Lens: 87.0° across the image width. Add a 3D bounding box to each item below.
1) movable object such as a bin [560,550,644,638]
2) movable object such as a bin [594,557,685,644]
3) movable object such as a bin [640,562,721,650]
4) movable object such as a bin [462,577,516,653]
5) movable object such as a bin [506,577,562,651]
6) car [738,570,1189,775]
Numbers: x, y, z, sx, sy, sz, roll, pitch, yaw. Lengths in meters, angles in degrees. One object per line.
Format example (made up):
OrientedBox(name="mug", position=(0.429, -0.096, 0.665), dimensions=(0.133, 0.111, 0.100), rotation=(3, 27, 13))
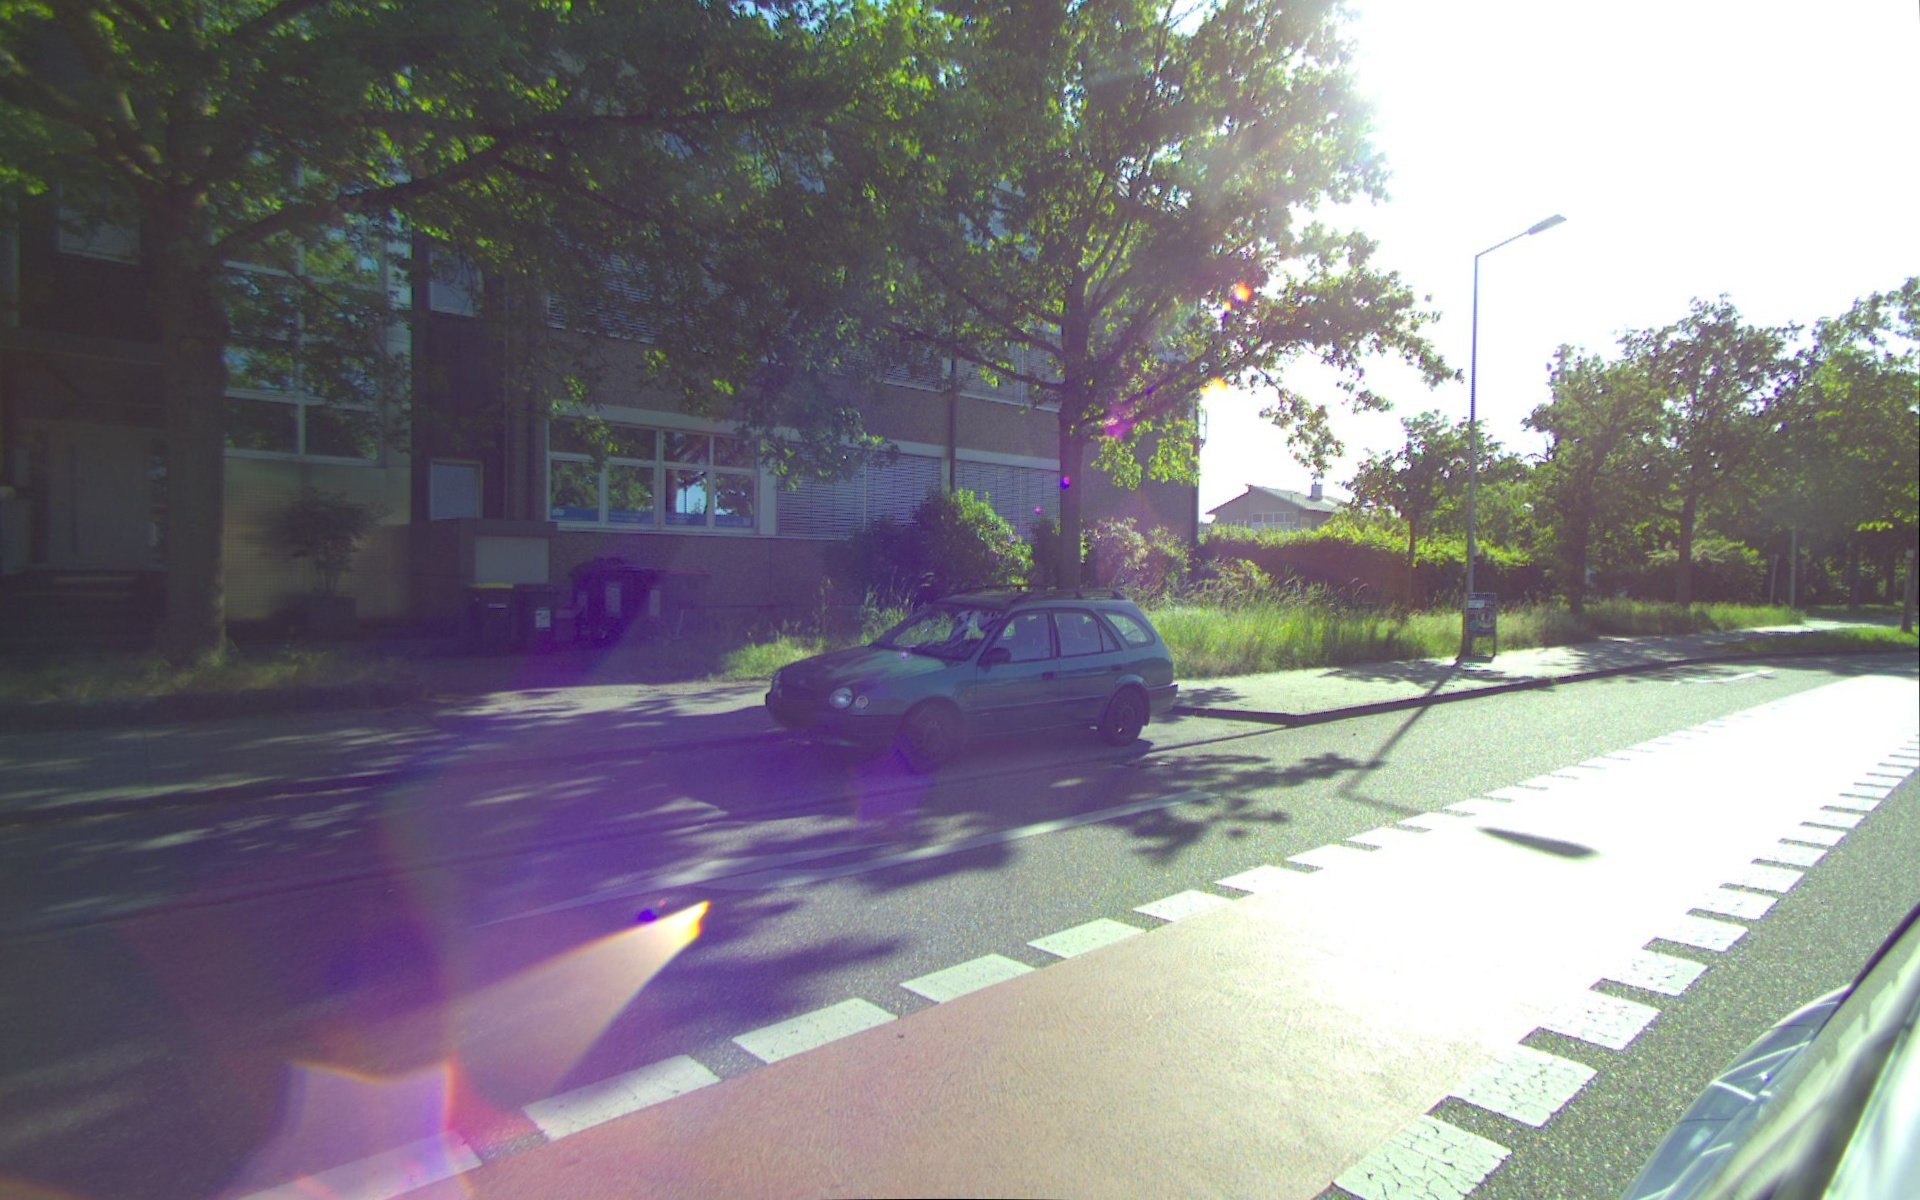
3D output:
OrientedBox(name="movable object such as a bin", position=(-6.449, -0.137, 18.230), dimensions=(1.024, 1.501, 1.309), rotation=(-1, 3, -41))
OrientedBox(name="movable object such as a bin", position=(-5.440, -0.019, 17.150), dimensions=(1.070, 1.388, 1.186), rotation=(-1, 3, -43))
OrientedBox(name="movable object such as a bin", position=(-4.450, 0.065, 16.063), dimensions=(0.878, 1.323, 1.186), rotation=(-1, 2, -37))
OrientedBox(name="movable object such as a bin", position=(-6.883, 0.200, 14.788), dimensions=(0.575, 1.070, 0.625), rotation=(0, 1, -42))
OrientedBox(name="movable object such as a bin", position=(-6.427, 0.191, 15.268), dimensions=(0.604, 1.075, 0.634), rotation=(-1, 2, -42))
OrientedBox(name="car", position=(0.186, 0.531, 9.423), dimensions=(4.068, 1.487, 1.705), rotation=(1, 1, -41))
